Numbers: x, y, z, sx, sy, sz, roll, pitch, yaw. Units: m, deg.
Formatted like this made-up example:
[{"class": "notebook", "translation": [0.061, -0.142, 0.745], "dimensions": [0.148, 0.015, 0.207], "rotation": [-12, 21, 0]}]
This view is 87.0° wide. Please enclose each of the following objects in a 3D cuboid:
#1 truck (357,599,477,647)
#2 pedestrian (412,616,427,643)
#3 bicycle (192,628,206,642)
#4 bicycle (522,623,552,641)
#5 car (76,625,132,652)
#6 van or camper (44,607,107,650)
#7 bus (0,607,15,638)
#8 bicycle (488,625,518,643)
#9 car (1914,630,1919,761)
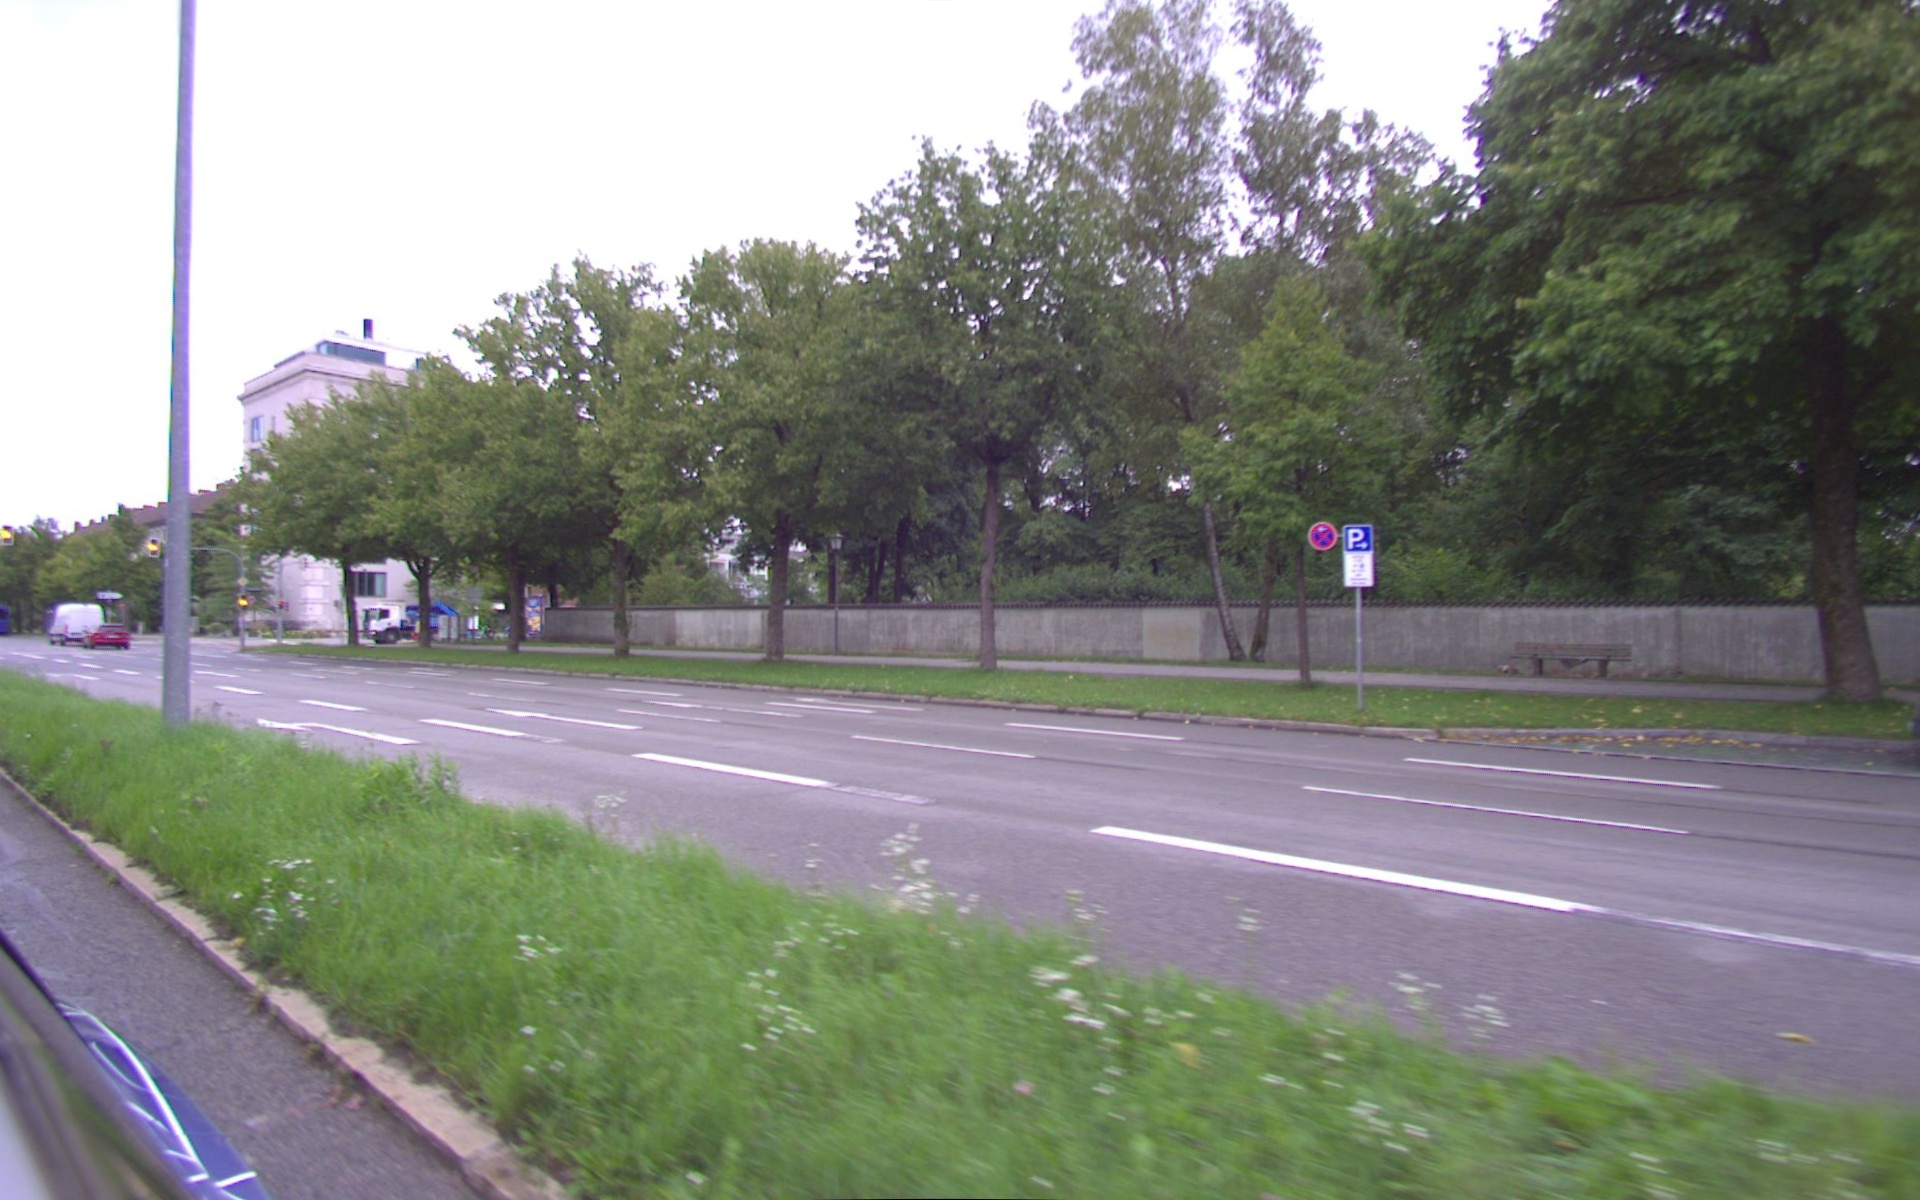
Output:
[{"class": "truck", "translation": [-41.987, 1.758, 78.464], "dimensions": [2.773, 3.515, 7.711], "rotation": [-2, -2, 43]}, {"class": "pedestrian", "translation": [-34.572, 1.894, 64.714], "dimensions": [0.516, 1.753, 0.701], "rotation": [-1, -2, 36]}, {"class": "bicycle", "translation": [-65.169, 3.015, 86.686], "dimensions": [1.825, 1.190, 0.539], "rotation": [-1, -2, 40]}, {"class": "bicycle", "translation": [-28.734, 2.197, 68.738], "dimensions": [2.494, 1.195, 0.827], "rotation": [-1, -2, 40]}, {"class": "car", "translation": [-49.019, 2.209, 57.907], "dimensions": [4.655, 1.463, 1.725], "rotation": [-2, -4, 41]}, {"class": "van or camper", "translation": [-57.148, 1.862, 65.346], "dimensions": [6.949, 2.667, 2.155], "rotation": [-2, -4, 42]}, {"class": "bus", "translation": [-110.034, 2.579, 114.713], "dimensions": [12.038, 3.369, 2.717], "rotation": [-1, -3, 40]}, {"class": "bicycle", "translation": [-30.452, 2.266, 67.419], "dimensions": [2.494, 1.195, 0.827], "rotation": [-1, -2, 40]}, {"class": "car", "translation": [12.679, 1.074, 9.790], "dimensions": [4.913, 1.501, 1.780], "rotation": [-1, 0, 41]}]
